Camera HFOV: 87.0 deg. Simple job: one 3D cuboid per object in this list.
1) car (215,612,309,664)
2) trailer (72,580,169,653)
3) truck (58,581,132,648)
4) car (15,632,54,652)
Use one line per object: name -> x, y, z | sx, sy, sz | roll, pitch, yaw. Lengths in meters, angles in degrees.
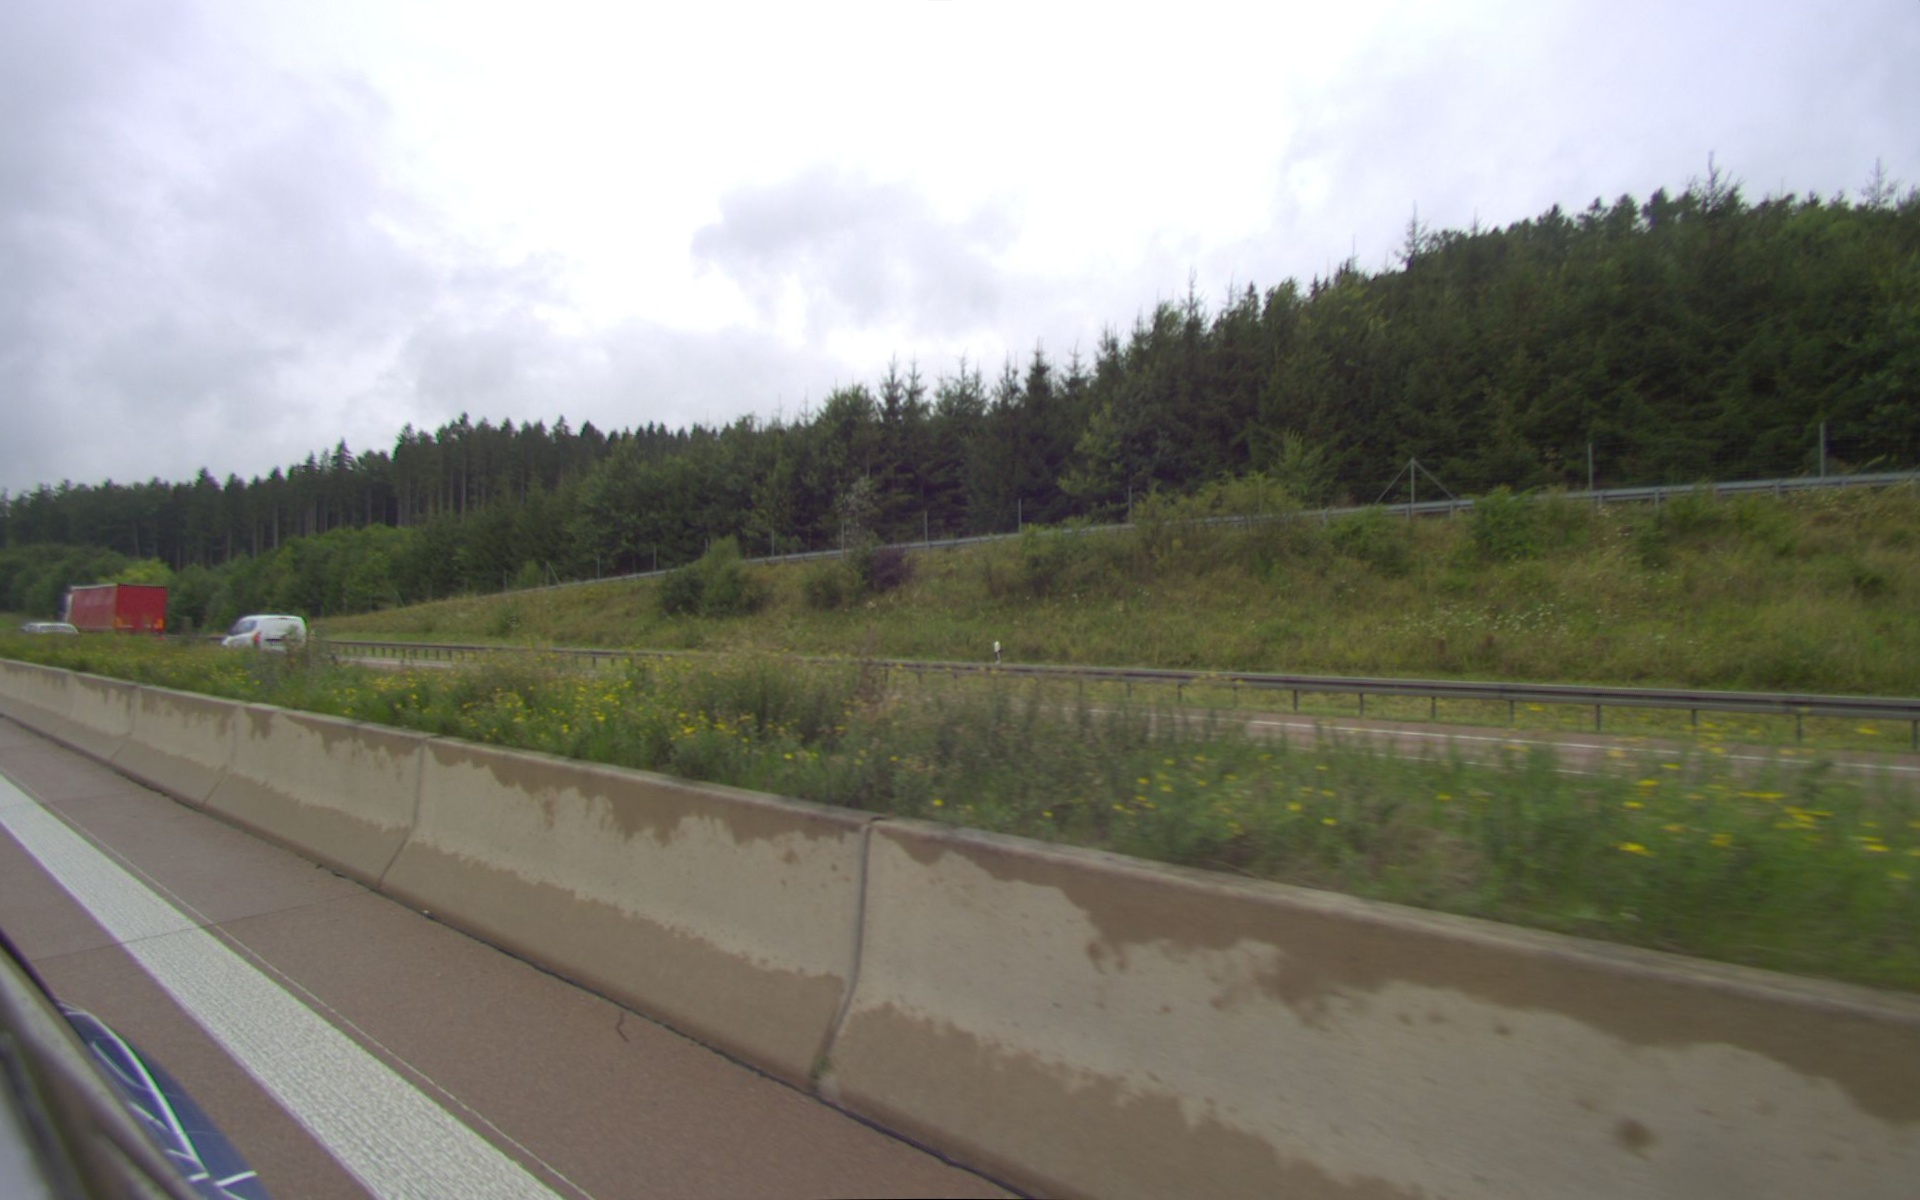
car -> -25.821, 1.339, 37.365 | 4.760, 1.734, 1.716 | 0, 1, 41
trailer -> -55.763, 0.975, 67.092 | 11.766, 4.522, 2.911 | 0, 1, 40
truck -> -61.591, 0.961, 72.032 | 6.787, 4.511, 2.920 | 0, 1, 40
car -> -81.017, 3.672, 88.556 | 4.521, 1.587, 1.973 | 0, -1, 40
